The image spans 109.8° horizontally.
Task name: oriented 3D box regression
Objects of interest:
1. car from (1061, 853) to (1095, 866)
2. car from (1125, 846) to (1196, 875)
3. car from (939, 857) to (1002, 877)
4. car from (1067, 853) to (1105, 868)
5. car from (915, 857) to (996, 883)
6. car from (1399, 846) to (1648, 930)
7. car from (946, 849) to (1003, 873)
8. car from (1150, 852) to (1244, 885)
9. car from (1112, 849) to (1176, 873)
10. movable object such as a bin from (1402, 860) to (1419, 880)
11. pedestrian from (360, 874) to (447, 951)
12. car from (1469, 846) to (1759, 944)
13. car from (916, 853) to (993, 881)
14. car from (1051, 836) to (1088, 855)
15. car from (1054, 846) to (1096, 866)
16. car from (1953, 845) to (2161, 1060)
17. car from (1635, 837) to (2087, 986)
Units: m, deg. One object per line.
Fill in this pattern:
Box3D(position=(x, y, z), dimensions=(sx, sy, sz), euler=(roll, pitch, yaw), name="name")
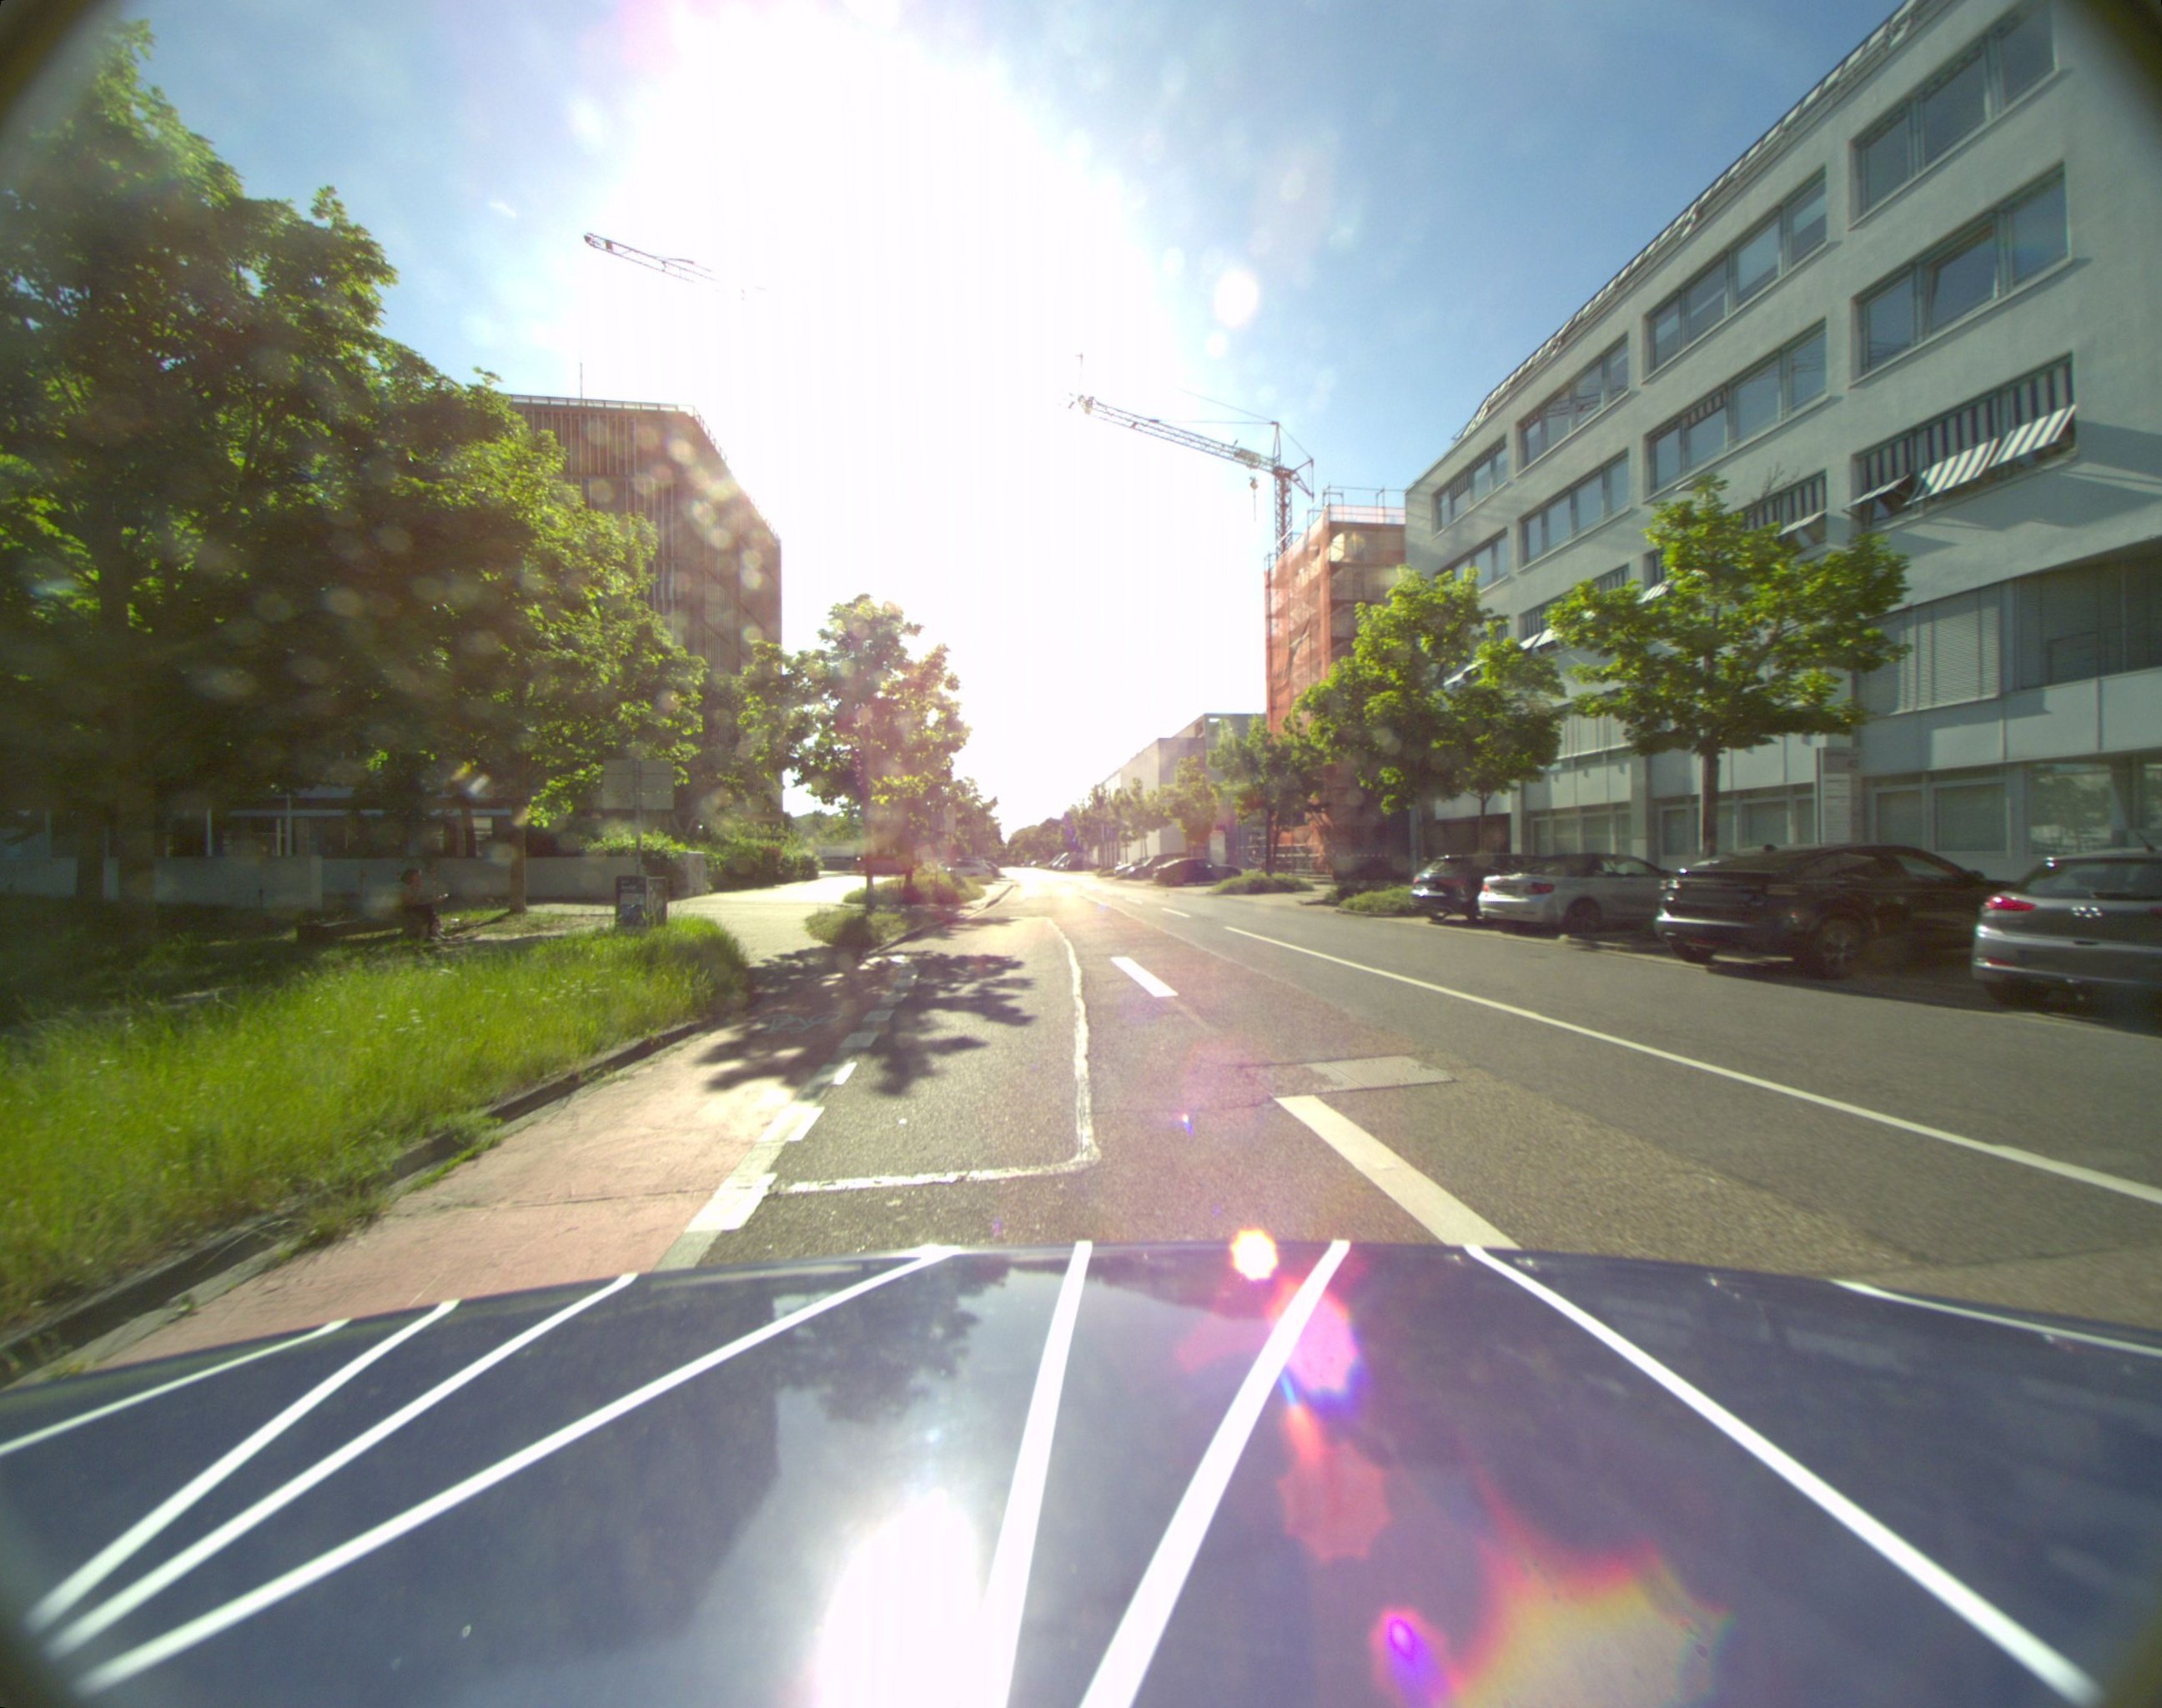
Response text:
Box3D(position=(-0.430, 0.680, 101.296), dimensions=(4.317, 1.505, 1.692), euler=(-3, 1, -7), name="car")
Box3D(position=(5.301, 0.426, 51.180), dimensions=(4.398, 1.735, 1.846), euler=(-3, 1, -5), name="car")
Box3D(position=(-7.905, 0.911, 54.937), dimensions=(4.415, 1.401, 2.073), euler=(0, 0, -6), name="car")
Box3D(position=(0.598, 0.739, 90.190), dimensions=(4.317, 1.505, 1.717), euler=(-3, 1, -7), name="car")
Box3D(position=(-7.074, 0.883, 43.088), dimensions=(4.415, 1.454, 1.894), euler=(0, 0, -6), name="car")
Box3D(position=(9.304, 0.670, 16.128), dimensions=(4.399, 1.423, 1.692), euler=(-3, 1, -7), name="car")
Box3D(position=(-8.484, 0.568, 60.648), dimensions=(4.415, 1.881, 2.073), euler=(0, 0, -6), name="car")
Box3D(position=(6.031, 0.727, 39.798), dimensions=(4.400, 1.423, 1.976), euler=(-3, 1, -10), name="car")
Box3D(position=(4.599, 0.471, 55.567), dimensions=(4.398, 1.505, 1.692), euler=(-3, 1, -6), name="car")
Box3D(position=(15.445, 0.730, 35.628), dimensions=(0.488, 0.922, 0.610), euler=(0, 1, -3), name="movable object such as a bin")
Box3D(position=(-11.234, 0.957, 12.630), dimensions=(0.848, 1.210, 0.727), euler=(1, 0, -19), name="pedestrian")
Box3D(position=(9.642, 0.683, 13.871), dimensions=(4.400, 1.423, 1.692), euler=(-3, 1, -10), name="car")
Box3D(position=(-7.506, 0.766, 45.425), dimensions=(4.415, 1.631, 2.073), euler=(0, 0, -6), name="car")
Box3D(position=(-1.784, -1.331, 116.513), dimensions=(5.585, 2.622, 2.009), euler=(-3, 1, -4), name="car")
Box3D(position=(-0.868, 0.316, 104.612), dimensions=(5.585, 2.468, 2.009), euler=(-3, 1, -4), name="car")
Box3D(position=(10.315, 0.695, 6.529), dimensions=(4.400, 1.529, 1.692), euler=(-3, 1, -11), name="car")
Box3D(position=(9.629, 0.629, 9.519), dimensions=(4.399, 1.423, 1.692), euler=(-3, 1, -9), name="car")
